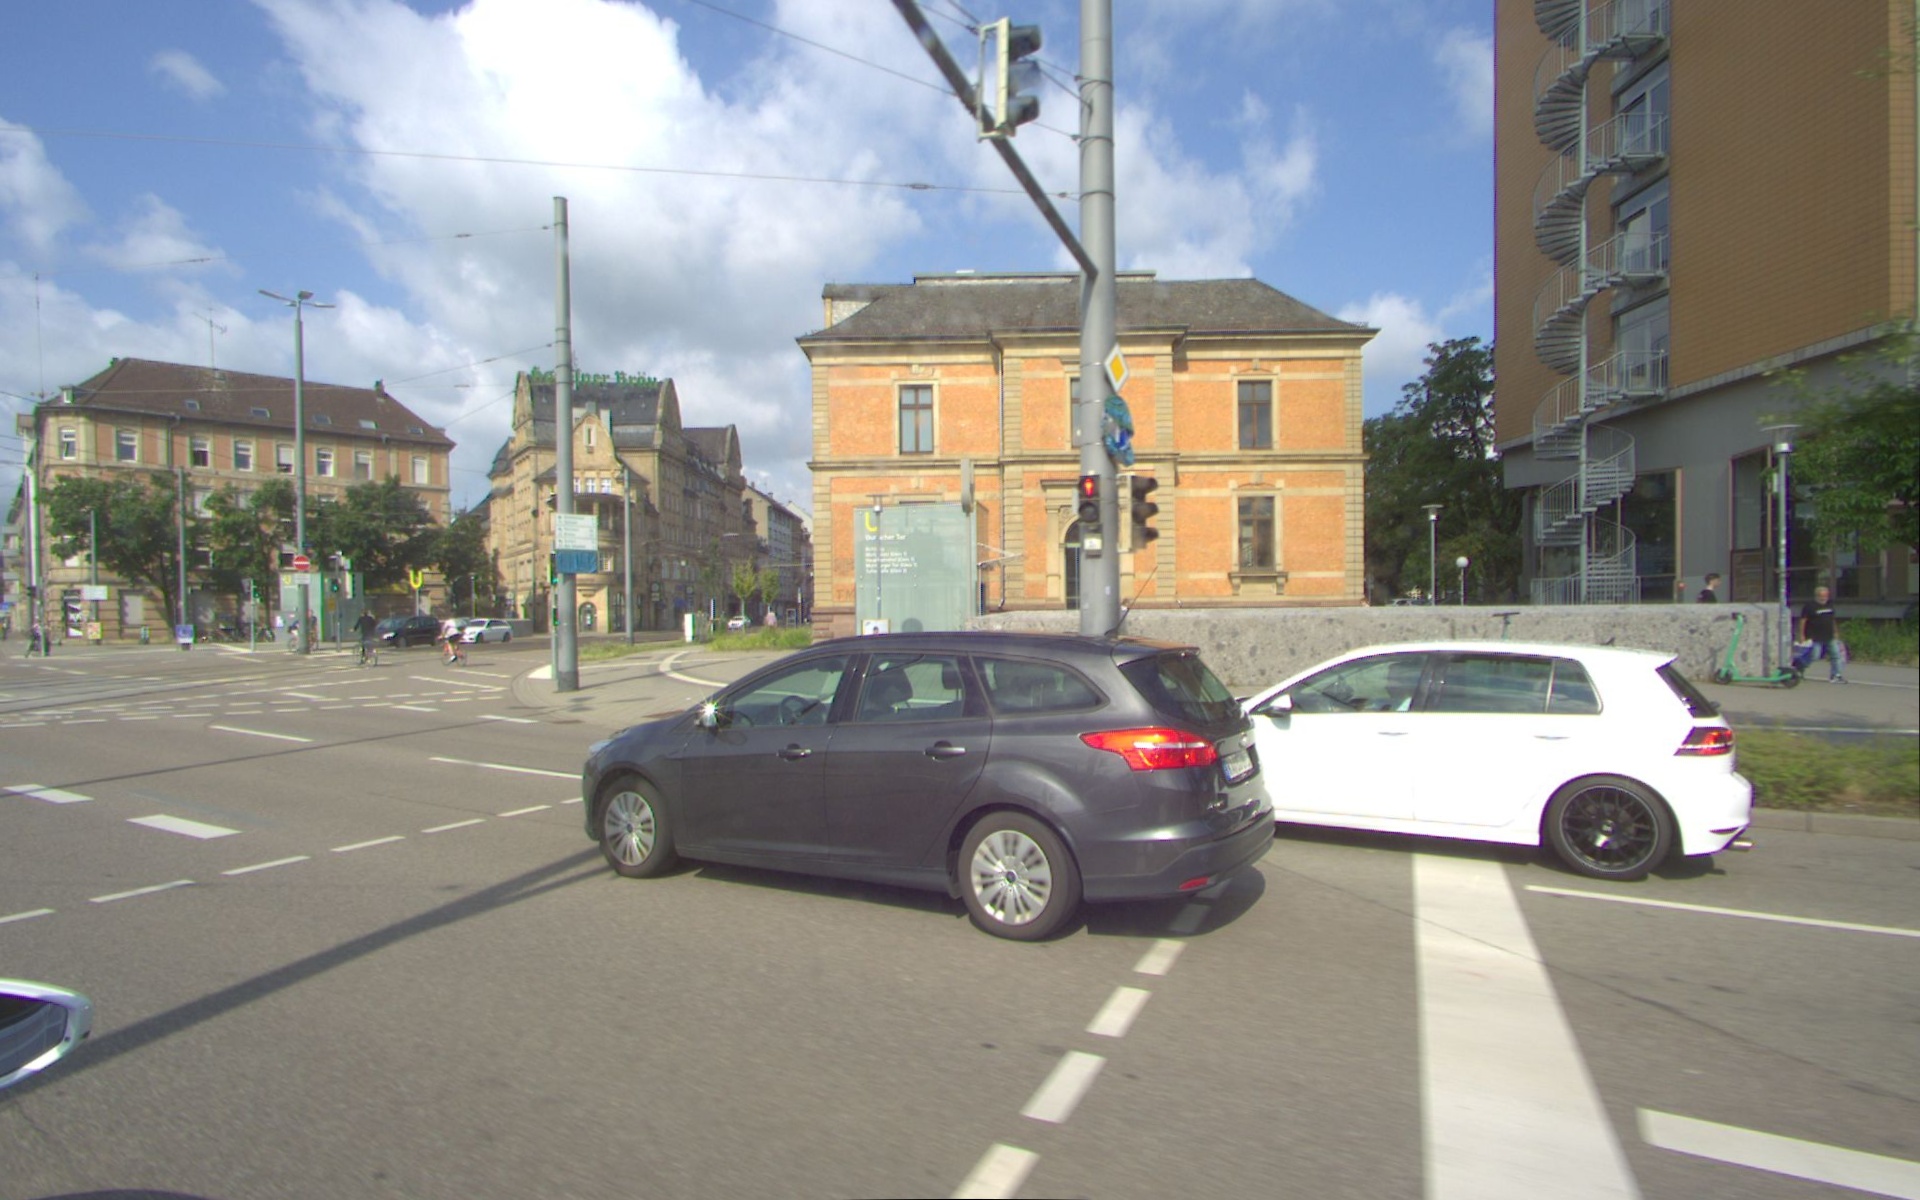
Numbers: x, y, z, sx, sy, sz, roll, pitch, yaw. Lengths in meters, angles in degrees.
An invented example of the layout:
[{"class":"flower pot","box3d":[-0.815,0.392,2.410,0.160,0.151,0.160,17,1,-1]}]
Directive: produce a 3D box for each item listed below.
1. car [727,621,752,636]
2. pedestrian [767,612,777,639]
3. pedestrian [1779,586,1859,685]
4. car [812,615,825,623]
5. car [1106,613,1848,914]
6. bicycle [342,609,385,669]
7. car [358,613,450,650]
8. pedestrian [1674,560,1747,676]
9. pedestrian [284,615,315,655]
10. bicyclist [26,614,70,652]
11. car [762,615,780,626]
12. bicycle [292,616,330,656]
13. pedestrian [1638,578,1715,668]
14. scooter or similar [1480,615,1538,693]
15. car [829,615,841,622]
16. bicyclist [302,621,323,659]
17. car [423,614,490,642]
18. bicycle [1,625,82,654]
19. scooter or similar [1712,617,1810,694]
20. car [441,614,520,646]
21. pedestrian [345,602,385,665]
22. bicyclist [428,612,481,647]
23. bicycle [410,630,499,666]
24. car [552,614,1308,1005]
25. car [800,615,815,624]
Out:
[{"class":"car","box3d":[-24.765,3.223,112.353,1.815,1.683,4.001,0,-1,2]},{"class":"pedestrian","box3d":[-10.965,1.483,58.344,0.497,1.525,0.499,0,0,-4]},{"class":"pedestrian","box3d":[14.580,0.585,17.023,0.751,1.611,0.771,0,4,18]},{"class":"car","box3d":[-26.725,3.571,189.140,1.815,1.558,3.822,0,-1,2]},{"class":"car","box3d":[3.321,0.918,7.100,4.170,1.464,1.677,2,-2,32]},{"class":"bicycle","box3d":[-18.114,1.175,30.365,0.996,1.747,2.453,0,-1,-34]},{"class":"car","box3d":[-27.739,1.582,50.118,1.961,1.761,4.342,0,-1,4]},{"class":"pedestrian","box3d":[13.566,0.310,18.121,0.792,2.041,0.724,-2,2,9]},{"class":"pedestrian","box3d":[-30.722,1.615,46.581,0.871,1.833,0.866,0,-1,19]},{"class":"bicyclist","box3d":[-41.222,1.496,45.273,0.771,1.680,1.196,0,1,11]},{"class":"car","box3d":[-27.201,2.927,144.319,1.815,1.558,3.822,0,-1,2]},{"class":"bicycle","box3d":[-29.228,1.621,45.115,1.611,1.800,0.729,-1,-1,27]},{"class":"pedestrian","box3d":[13.604,0.411,19.025,0.753,1.611,0.933,-4,4,-29]},{"class":"scooter or similar","box3d":[9.158,0.887,16.731,0.395,1.213,1.186,-1,1,4]},{"class":"car","box3d":[-25.568,3.796,205.185,1.815,1.558,3.822,0,-1,2]},{"class":"bicyclist","box3d":[-29.160,1.800,45.100,0.646,1.692,0.572,0,-1,27]},{"class":"car","box3d":[-30.103,1.630,59.971,1.721,1.621,4.000,0,-1,5]},{"class":"bicycle","box3d":[-41.271,1.752,45.060,0.884,1.186,2.678,0,1,11]},{"class":"scooter or similar","box3d":[12.781,0.861,16.004,0.396,1.146,1.183,-2,2,-21]},{"class":"car","box3d":[-27.024,1.658,56.586,1.961,1.617,4.683,0,1,4]},{"class":"pedestrian","box3d":[-18.066,0.998,30.394,0.982,1.865,0.990,0,-1,-34]},{"class":"bicyclist","box3d":[-15.778,0.942,31.269,1.197,1.040,0.989,-3,-3,30]},{"class":"bicycle","box3d":[-15.809,1.500,31.270,3.064,1.040,0.992,-3,-3,30]},{"class":"car","box3d":[-0.268,0.901,5.960,4.191,1.549,1.764,0,2,30]},{"class":"car","box3d":[-26.477,3.350,173.866,1.815,1.558,3.822,0,-1,2]}]
